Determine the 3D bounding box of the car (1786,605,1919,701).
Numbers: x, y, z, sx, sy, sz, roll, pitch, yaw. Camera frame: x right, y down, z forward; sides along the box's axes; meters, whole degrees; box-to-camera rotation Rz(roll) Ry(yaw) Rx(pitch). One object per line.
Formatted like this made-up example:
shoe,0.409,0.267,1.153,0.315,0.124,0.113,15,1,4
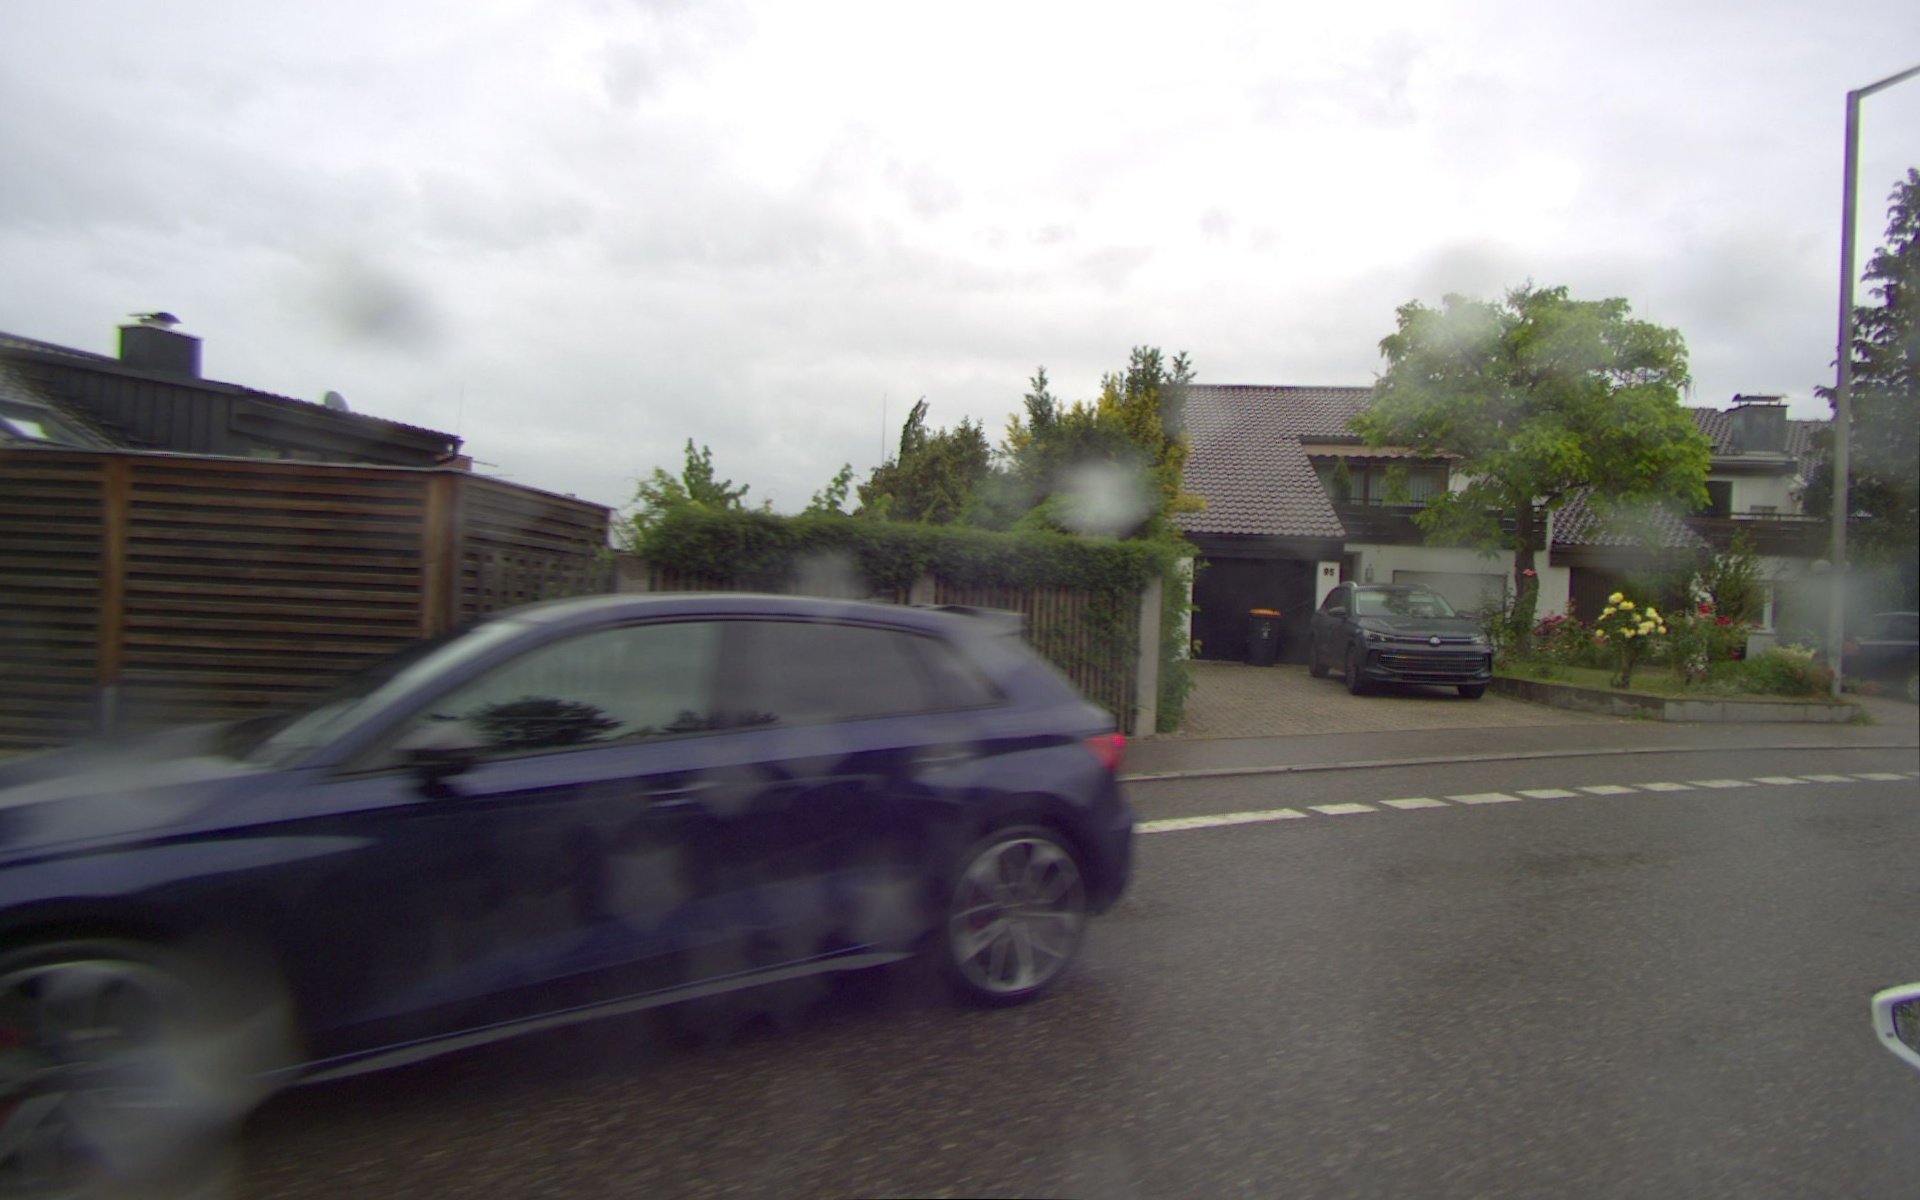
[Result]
car,16.368,0.891,17.190,1.902,1.408,4.001,4,2,16

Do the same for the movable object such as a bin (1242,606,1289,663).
movable object such as a bin,5.938,0.669,19.547,0.717,1.050,0.720,2,1,6

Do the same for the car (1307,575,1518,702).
car,6.824,0.475,15.640,1.973,1.653,4.002,2,2,9

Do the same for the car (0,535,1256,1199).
car,-1.060,0.590,3.750,4.115,1.439,1.769,1,1,-29
